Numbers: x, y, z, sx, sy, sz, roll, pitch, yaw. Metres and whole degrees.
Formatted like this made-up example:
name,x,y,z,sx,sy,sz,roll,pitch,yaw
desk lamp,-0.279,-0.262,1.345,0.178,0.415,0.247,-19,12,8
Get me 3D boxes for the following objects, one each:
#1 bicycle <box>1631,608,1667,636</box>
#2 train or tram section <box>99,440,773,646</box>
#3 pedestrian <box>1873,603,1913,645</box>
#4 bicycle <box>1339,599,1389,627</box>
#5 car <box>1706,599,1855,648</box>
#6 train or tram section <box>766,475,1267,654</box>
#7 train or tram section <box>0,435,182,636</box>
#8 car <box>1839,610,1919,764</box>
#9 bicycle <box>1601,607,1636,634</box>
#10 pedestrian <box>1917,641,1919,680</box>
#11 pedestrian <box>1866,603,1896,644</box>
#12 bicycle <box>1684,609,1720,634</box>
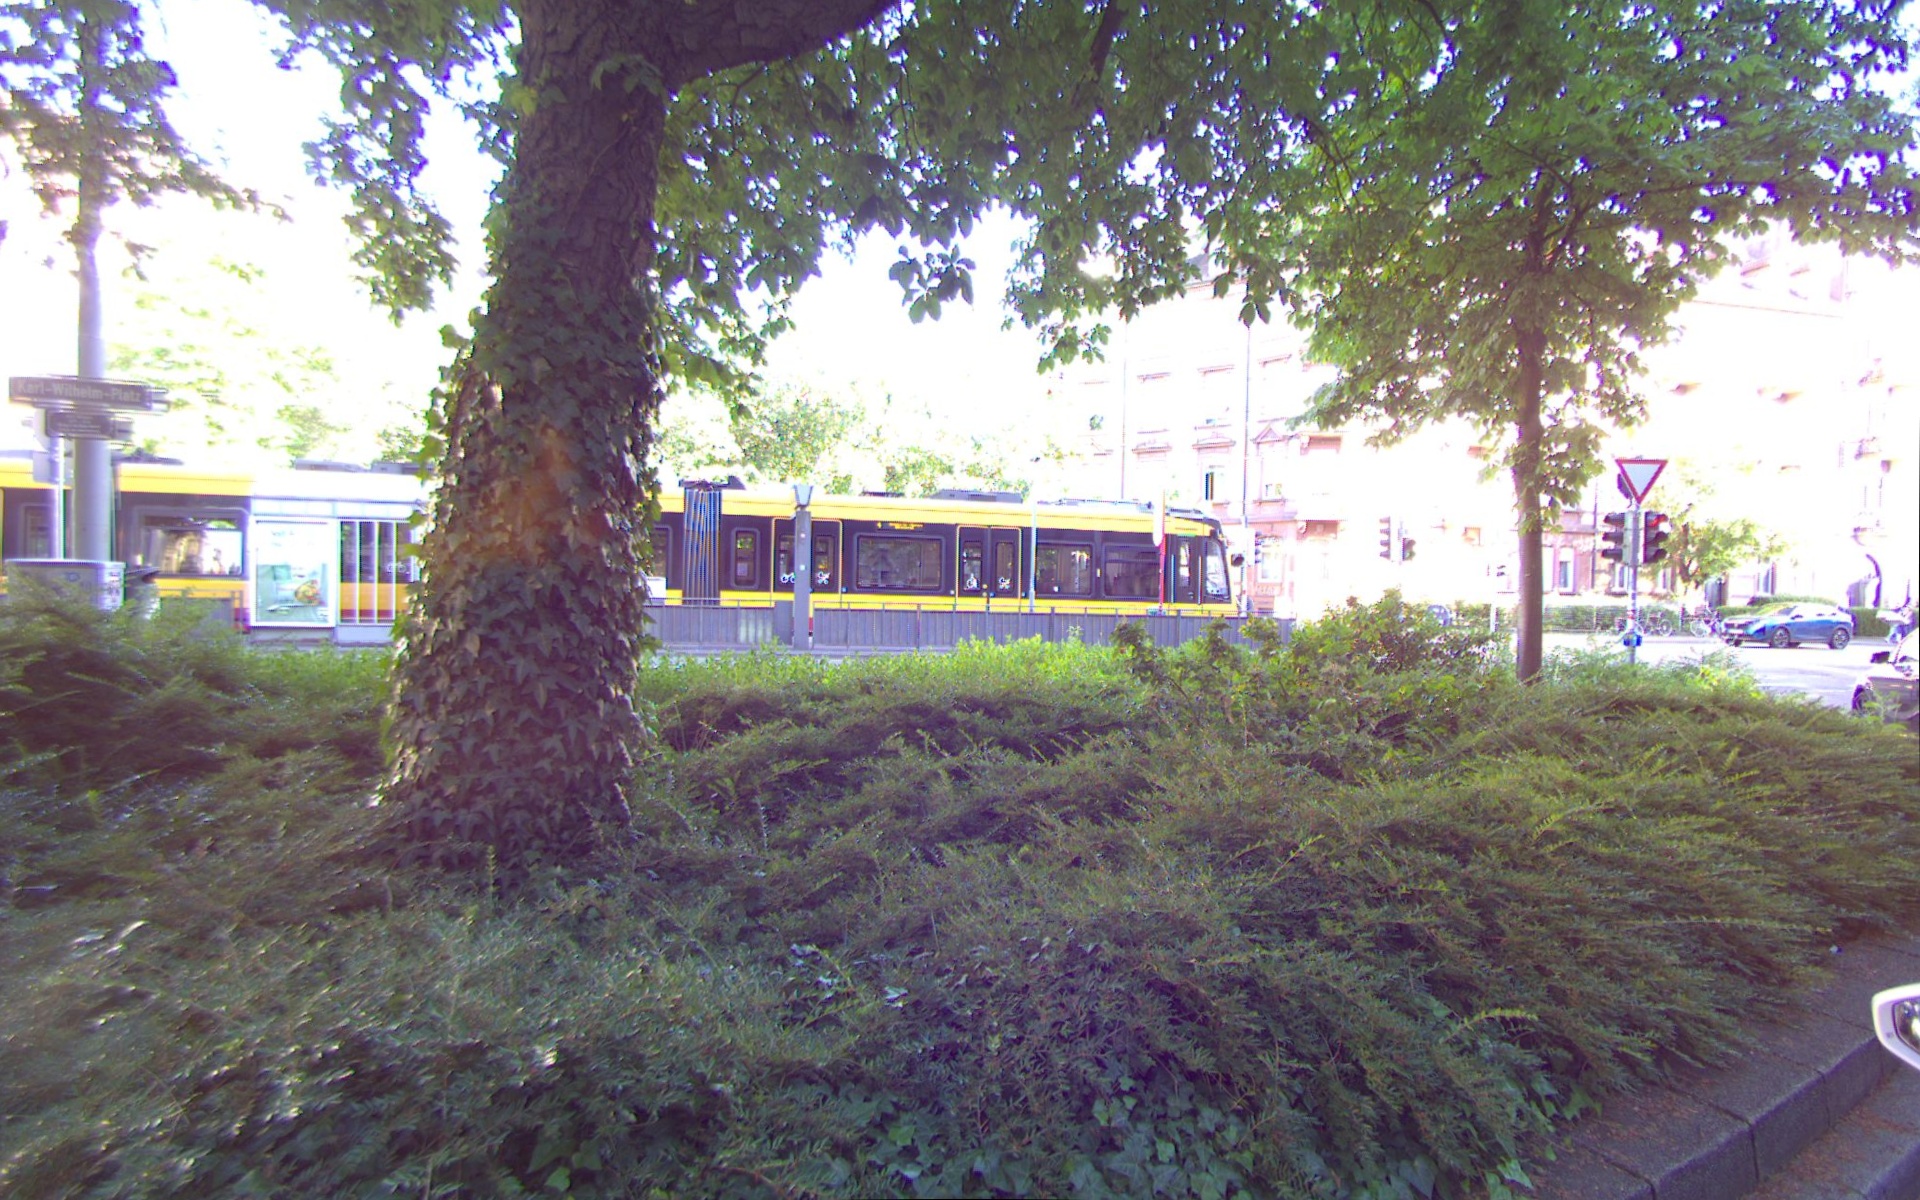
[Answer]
name,x,y,z,sx,sy,sz,roll,pitch,yaw
bicycle,29.057,0.934,42.369,1.210,1.122,0.442,1,2,-7
train or tram section,-10.242,-1.018,21.304,12.206,3.635,2.779,1,1,-13
pedestrian,39.185,1.014,42.212,0.880,1.688,0.712,2,4,5
bicycle,17.578,0.563,43.726,1.928,1.122,0.443,3,2,22
car,29.968,0.851,36.726,4.333,1.672,1.944,1,1,-12
train or tram section,1.337,-0.721,24.032,11.598,3.668,2.793,1,1,-13
train or tram section,-22.249,-1.319,18.483,12.463,3.605,2.766,1,1,-13
car,10.759,0.887,10.253,1.762,1.562,3.855,0,0,27
bicycle,27.667,0.865,42.225,1.210,1.122,0.442,1,2,-7
pedestrian,23.284,1.082,23.686,0.891,1.657,0.722,5,4,40
pedestrian,39.587,0.996,43.168,0.624,1.738,0.664,1,1,1
bicycle,31.588,0.919,42.756,1.211,1.052,0.442,1,2,-8
